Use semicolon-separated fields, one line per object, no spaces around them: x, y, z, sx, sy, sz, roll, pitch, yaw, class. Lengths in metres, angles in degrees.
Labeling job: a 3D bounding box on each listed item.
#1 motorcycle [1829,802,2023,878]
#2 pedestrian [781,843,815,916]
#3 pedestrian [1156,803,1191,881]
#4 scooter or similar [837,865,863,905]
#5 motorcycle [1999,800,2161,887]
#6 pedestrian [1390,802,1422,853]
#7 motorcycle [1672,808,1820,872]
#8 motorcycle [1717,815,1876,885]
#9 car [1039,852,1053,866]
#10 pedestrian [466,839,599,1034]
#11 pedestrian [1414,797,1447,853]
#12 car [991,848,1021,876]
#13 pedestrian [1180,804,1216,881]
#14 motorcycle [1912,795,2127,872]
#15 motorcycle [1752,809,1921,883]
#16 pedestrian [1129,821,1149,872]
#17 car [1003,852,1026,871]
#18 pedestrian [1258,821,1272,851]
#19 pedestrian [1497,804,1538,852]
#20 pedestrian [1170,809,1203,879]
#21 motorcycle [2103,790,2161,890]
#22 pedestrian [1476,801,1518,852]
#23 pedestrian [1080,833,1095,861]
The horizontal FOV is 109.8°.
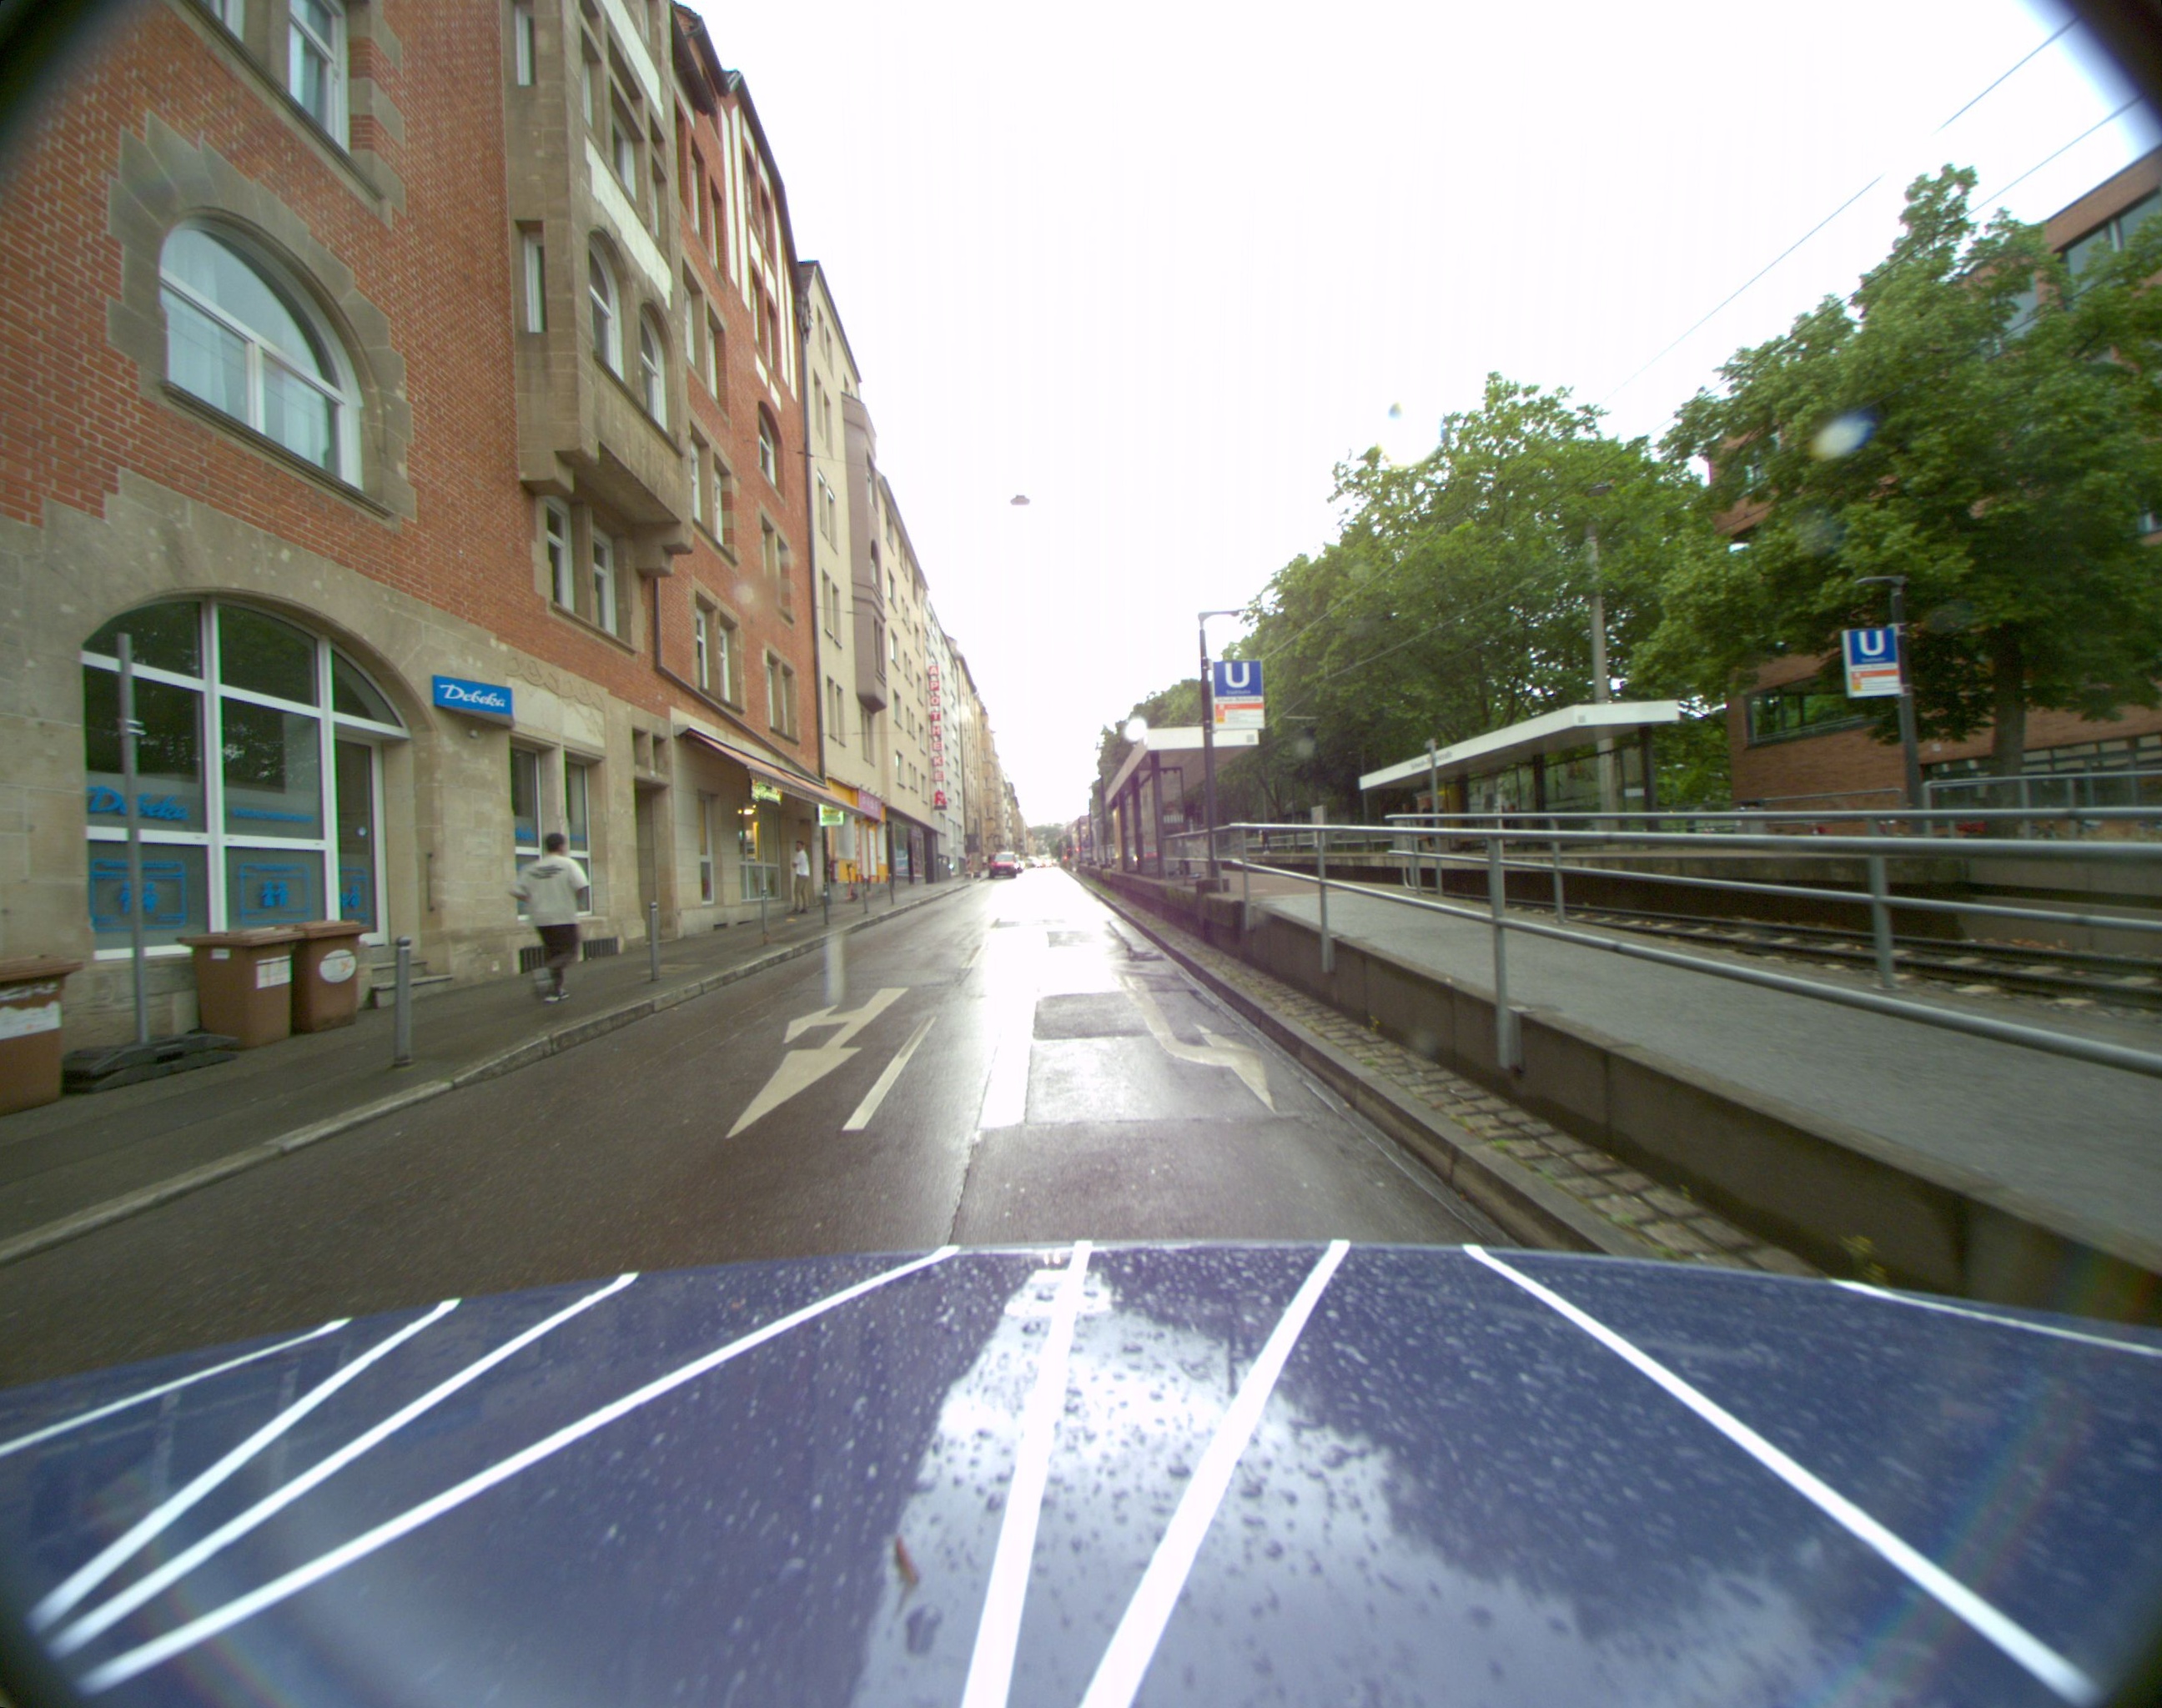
20.828;-0.343;18.777;3.875;1.596;1.006;-3;1;-4;motorcycle
-7.159;0.625;19.228;0.562;1.820;0.580;2;2;30;pedestrian
2.038;-0.261;16.817;0.615;1.678;0.587;-3;1;1;pedestrian
-7.293;0.976;24.020;0.258;1.214;1.195;-3;0;7;scooter or similar
21.241;-0.240;15.868;3.067;1.618;1.006;-3;1;-4;motorcycle
10.878;-0.874;25.446;0.688;1.631;0.564;-4;0;-4;pedestrian
20.827;-0.432;23.847;3.875;1.763;1.006;-3;1;-4;motorcycle
21.018;-0.129;22.368;3.875;1.805;1.006;-3;1;-4;motorcycle
-4.235;0.588;92.938;1.621;1.592;4.066;-2;-1;-3;car
-5.257;0.746;7.345;0.687;1.744;0.835;-2;1;-10;pedestrian
11.025;-0.895;23.987;0.564;1.705;0.705;-4;0;-4;pedestrian
-5.372;0.557;55.158;1.980;1.827;5.243;-3;1;-4;car
2.466;-0.232;16.063;0.615;1.572;0.507;-3;1;1;pedestrian
21.269;-0.465;17.266;3.875;1.479;1.006;-3;1;-4;motorcycle
21.066;-0.239;21.219;3.875;1.805;1.006;-3;1;-4;motorcycle
1.887;-0.246;24.769;0.496;1.595;0.637;-2;1;14;pedestrian
-6.227;0.688;71.389;1.770;1.698;4.498;-3;0;-2;car
10.365;-0.981;42.744;0.563;1.631;0.689;-4;0;4;pedestrian
11.713;-0.687;20.414;0.705;1.233;0.564;-4;0;-4;pedestrian
2.433;-0.232;17.515;0.615;1.572;0.507;-3;1;1;pedestrian
21.108;-0.341;14.130;3.045;1.805;0.993;-3;1;-4;motorcycle
11.517;-0.752;21.058;0.779;1.354;0.564;-4;0;-5;pedestrian
0.419;-0.453;49.068;0.861;1.789;0.787;-3;1;-3;pedestrian
